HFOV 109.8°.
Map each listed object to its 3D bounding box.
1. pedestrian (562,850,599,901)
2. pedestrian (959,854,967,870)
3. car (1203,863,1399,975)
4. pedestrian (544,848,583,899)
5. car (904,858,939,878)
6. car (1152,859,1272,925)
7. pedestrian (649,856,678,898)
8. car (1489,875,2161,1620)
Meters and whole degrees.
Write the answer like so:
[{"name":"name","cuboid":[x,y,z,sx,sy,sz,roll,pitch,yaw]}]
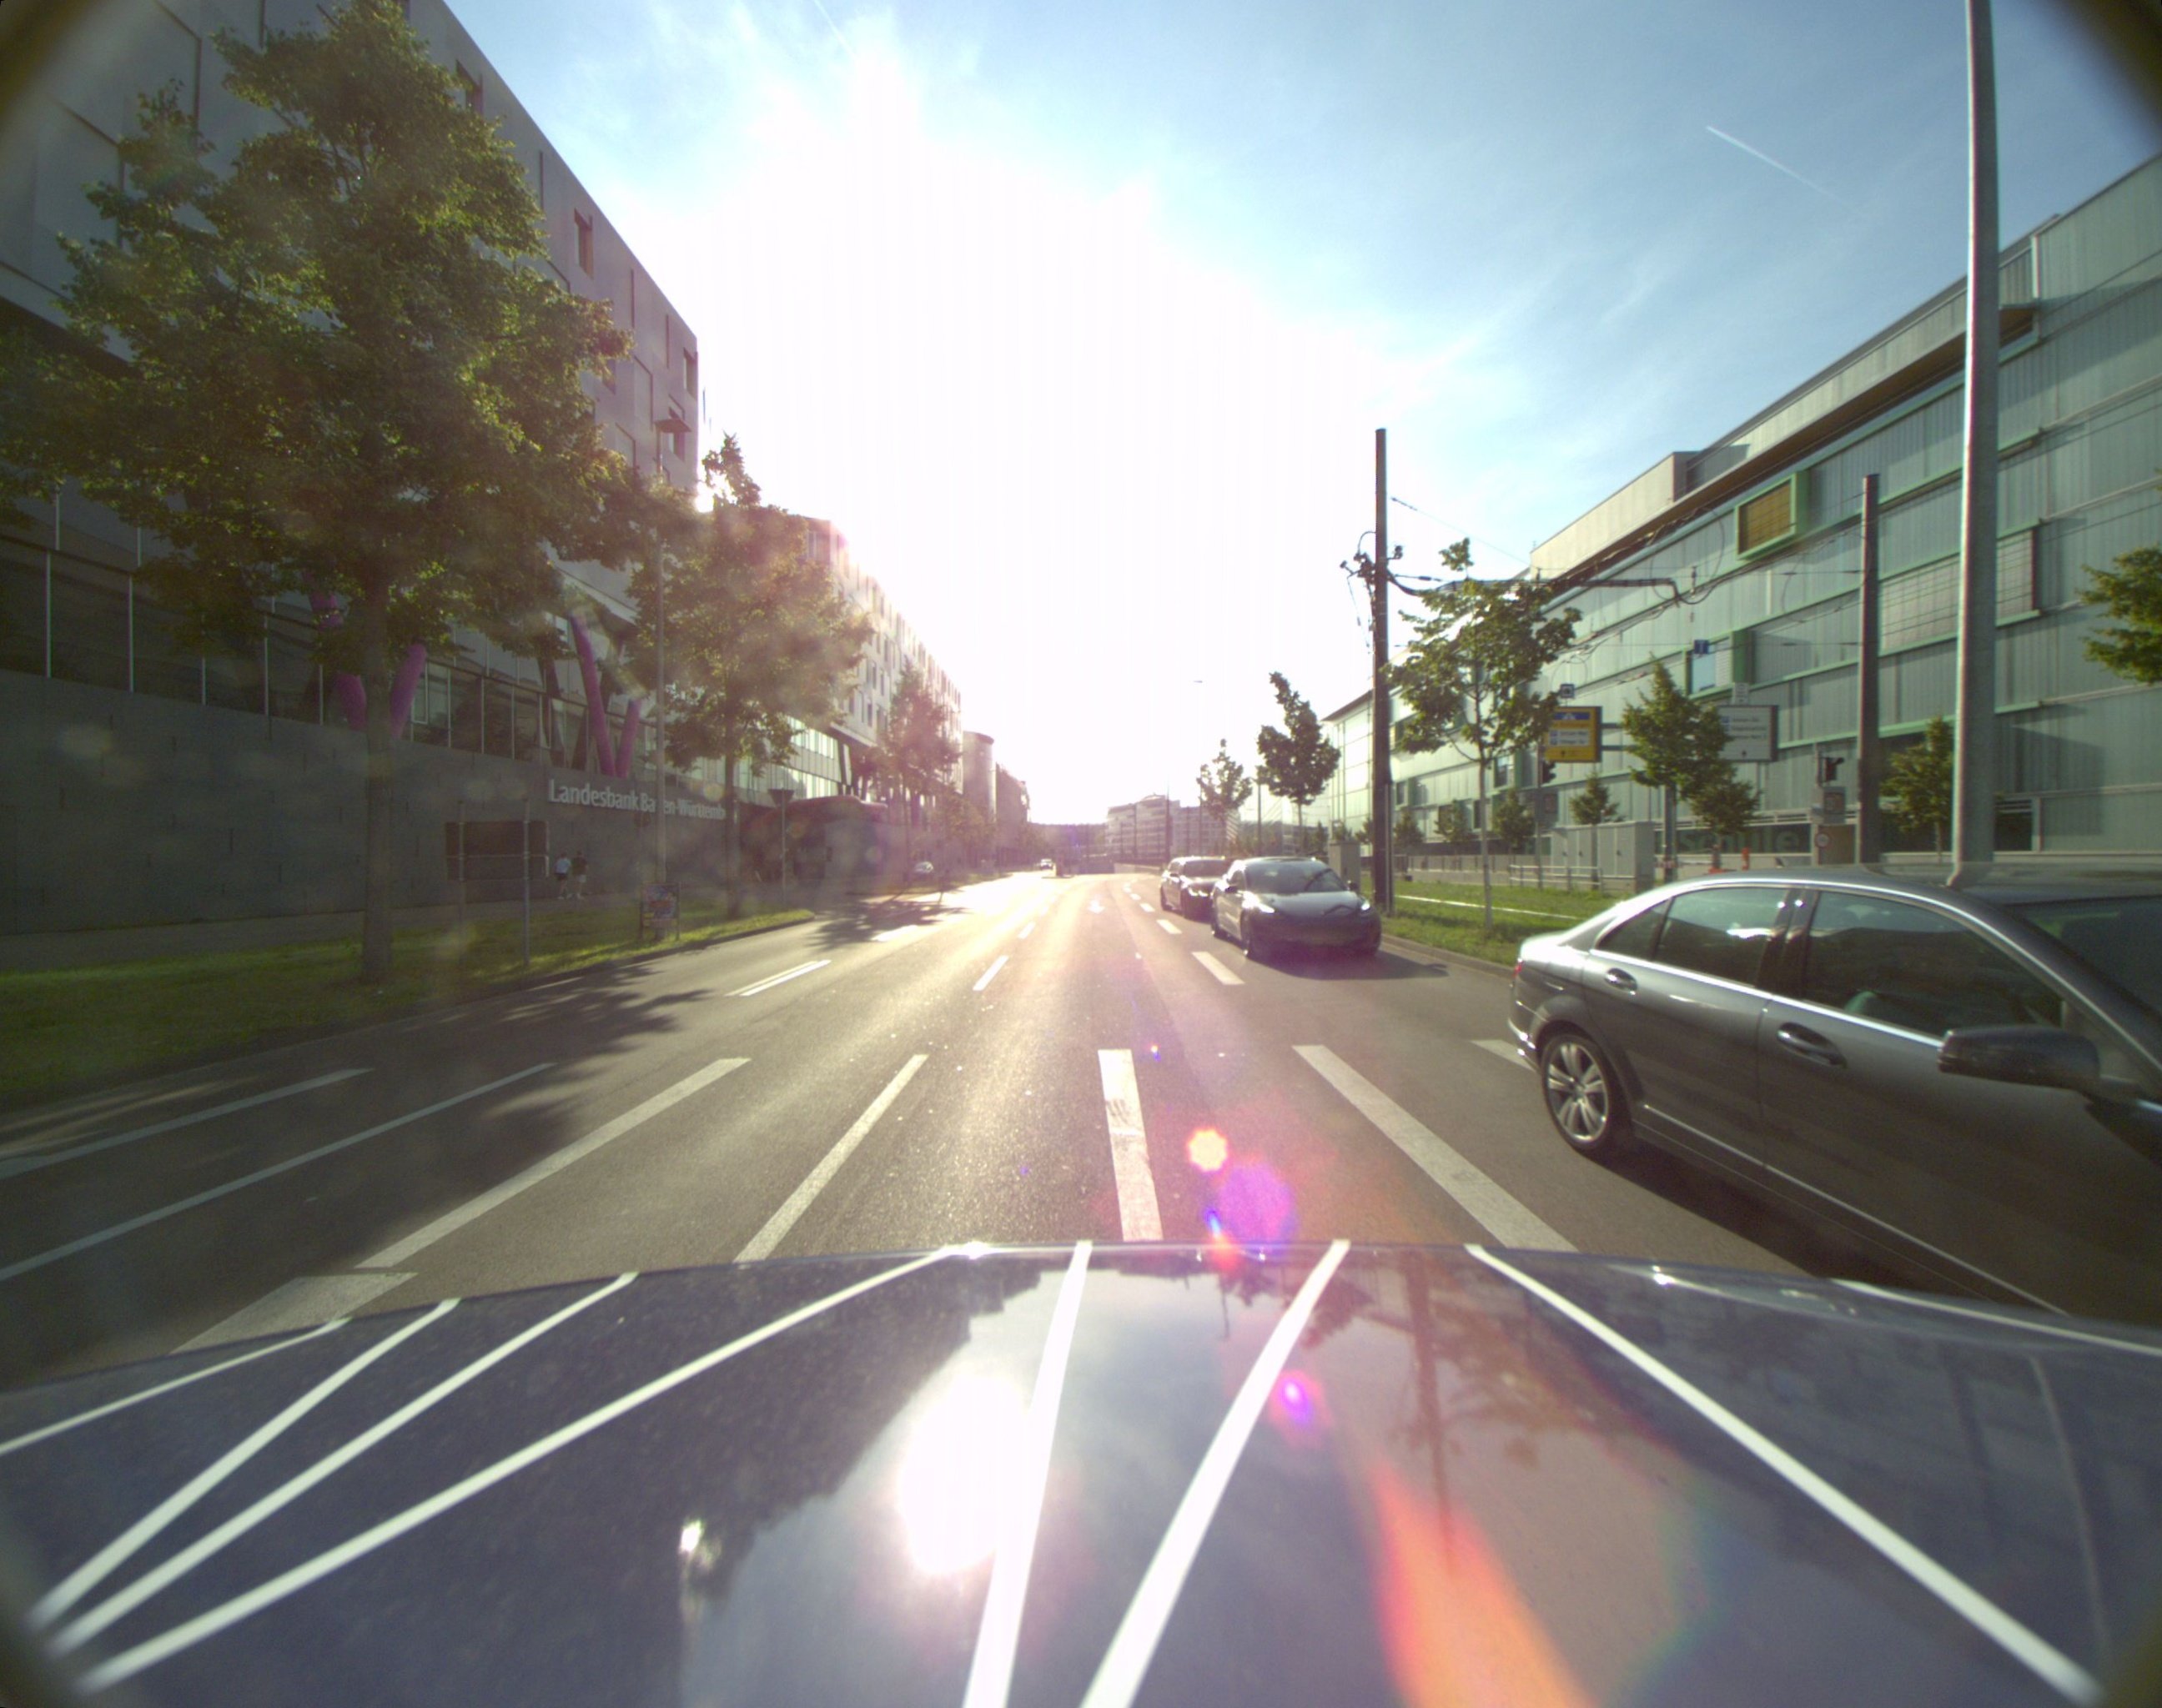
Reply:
[{"name":"pedestrian","cuboid":[-18.037,0.776,27.389,0.756,1.783,0.844,2,0,0]},{"name":"pedestrian","cuboid":[-13.596,0.909,87.664,0.725,1.776,0.771,0,1,0]},{"name":"car","cuboid":[3.216,0.872,12.095,1.894,1.377,4.335,-2,0,1]},{"name":"pedestrian","cuboid":[-18.746,0.689,27.538,0.770,1.814,0.853,2,0,0]},{"name":"car","cuboid":[-11.598,0.995,55.597,1.696,1.382,4.199,0,-1,-1]},{"name":"car","cuboid":[3.188,0.876,19.430,1.895,1.418,4.471,-2,0,-5]},{"name":"pedestrian","cuboid":[-16.539,0.908,30.105,0.695,1.629,0.736,0,1,0]},{"name":"car","cuboid":[3.203,0.875,2.187,1.791,1.470,4.354,-2,0,2]}]
